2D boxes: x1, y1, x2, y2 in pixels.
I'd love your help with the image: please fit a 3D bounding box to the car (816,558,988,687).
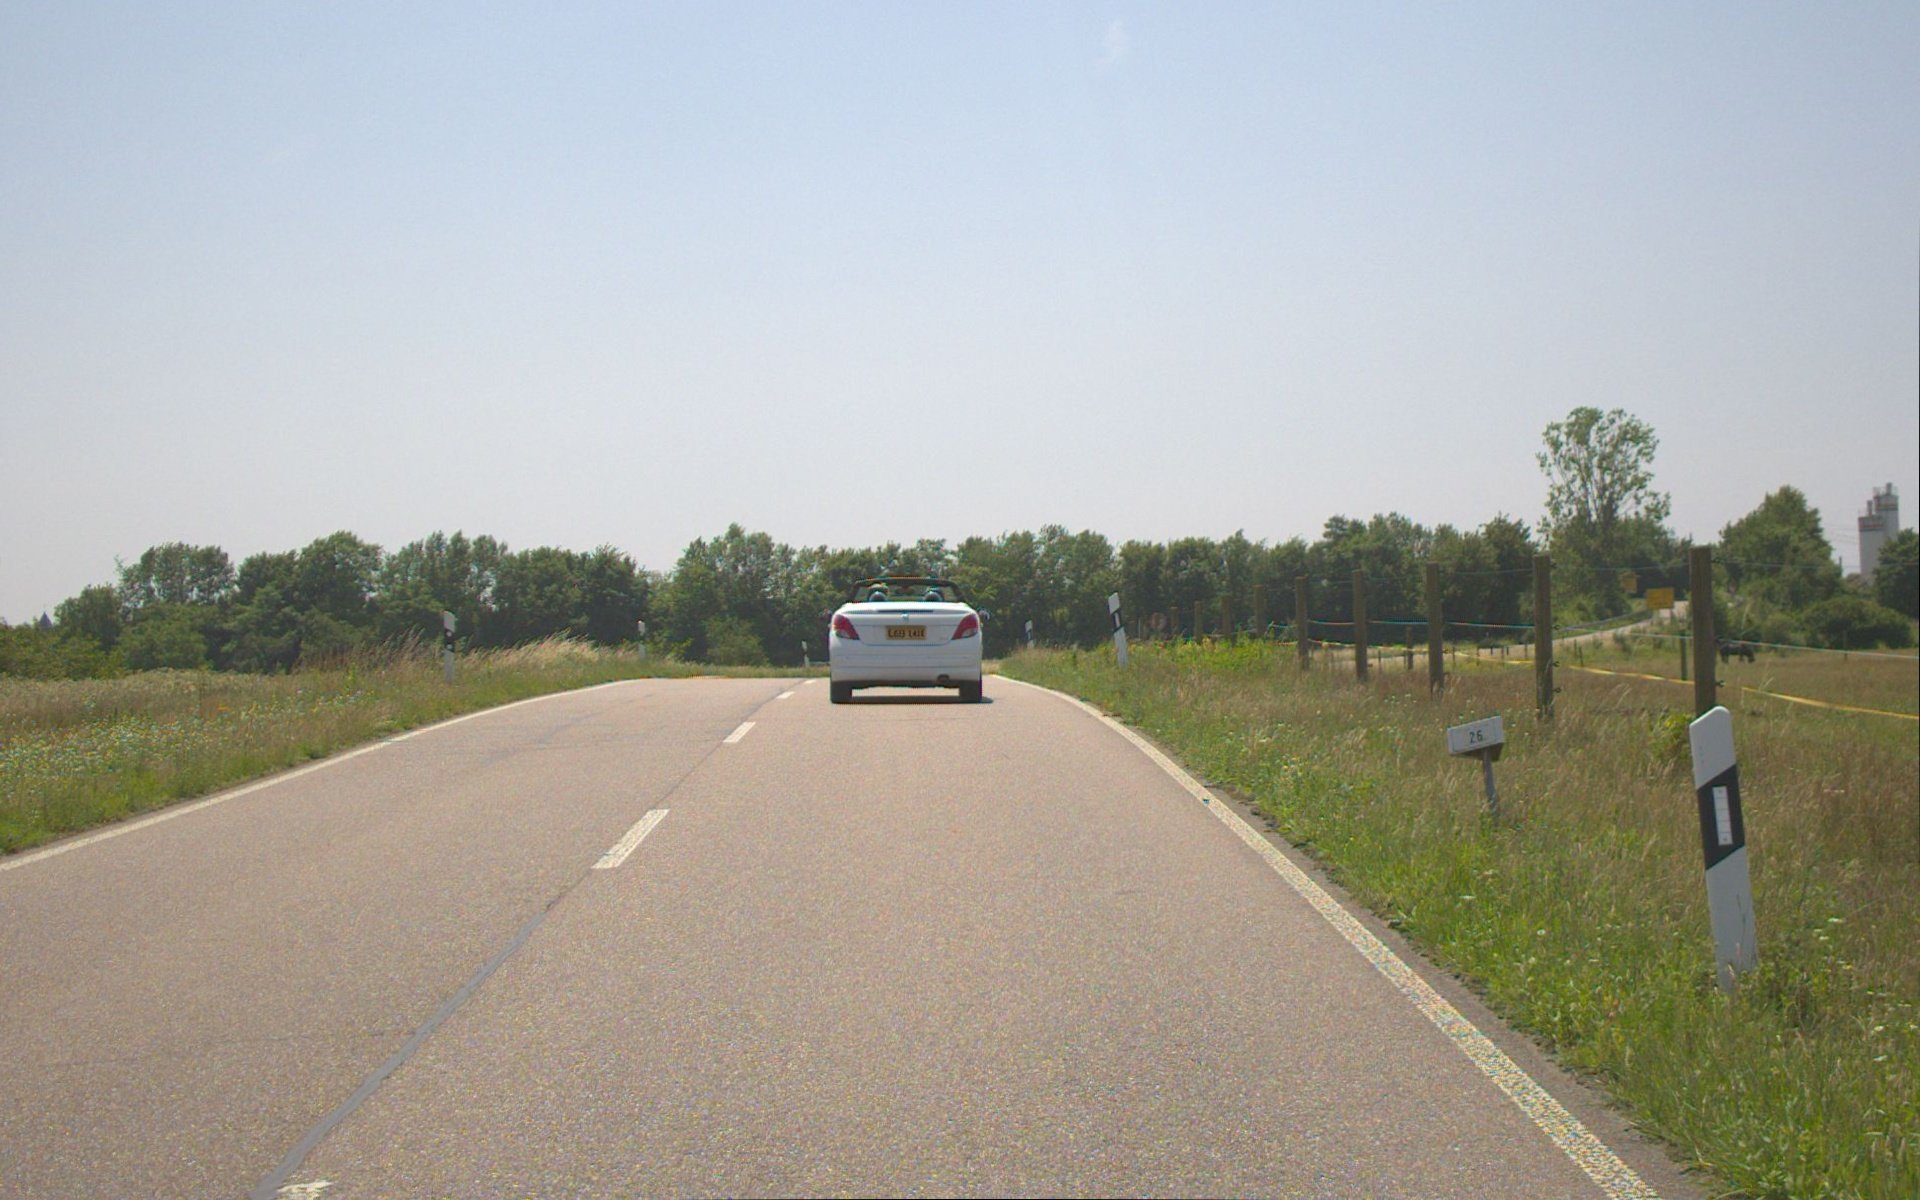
[{"bbox_3d":[-0.643,0.238,39.066,1.851,1.375,4.000,0,0,0],"label":"car"}]
